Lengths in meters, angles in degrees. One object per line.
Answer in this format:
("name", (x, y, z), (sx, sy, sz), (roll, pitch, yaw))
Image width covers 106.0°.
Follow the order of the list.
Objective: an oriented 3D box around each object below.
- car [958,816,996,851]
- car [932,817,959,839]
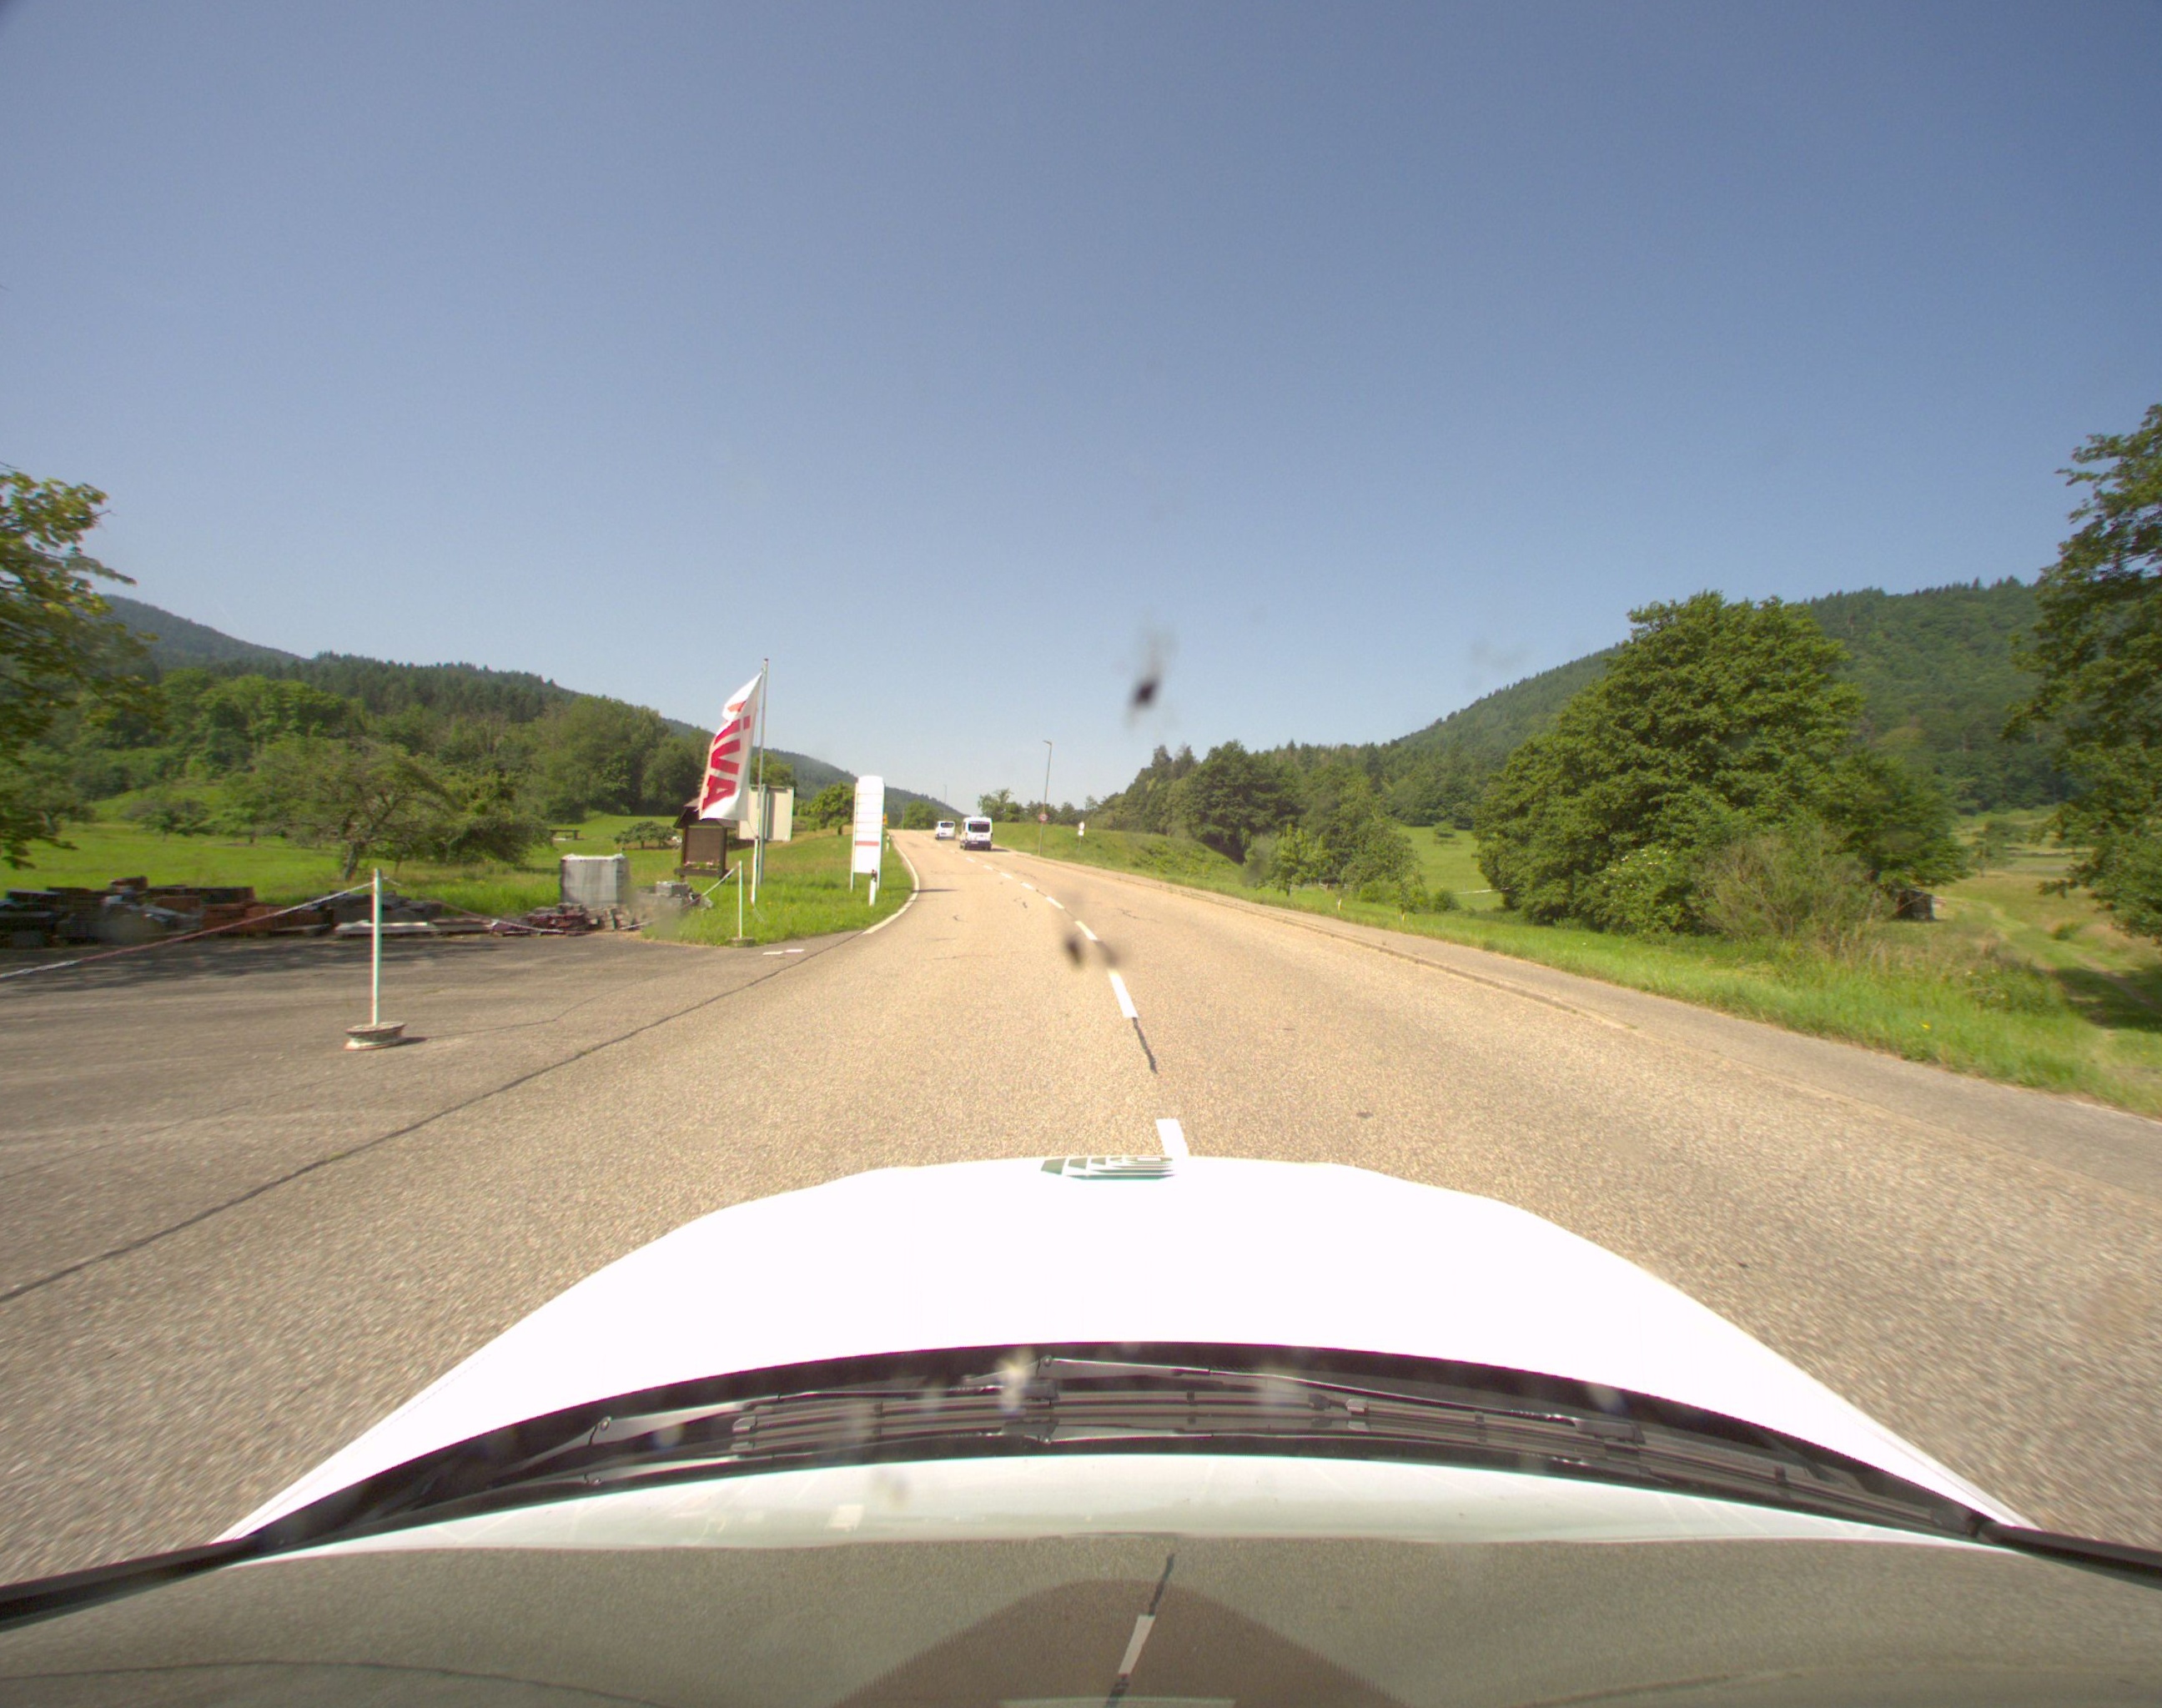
("car", (-7.898, -1.505, 61.322), (2.226, 2.525, 4.960), (-1, 1, -14))
("car", (-14.531, -2.738, 87.210), (2.227, 2.286, 4.958), (-1, 1, -16))
